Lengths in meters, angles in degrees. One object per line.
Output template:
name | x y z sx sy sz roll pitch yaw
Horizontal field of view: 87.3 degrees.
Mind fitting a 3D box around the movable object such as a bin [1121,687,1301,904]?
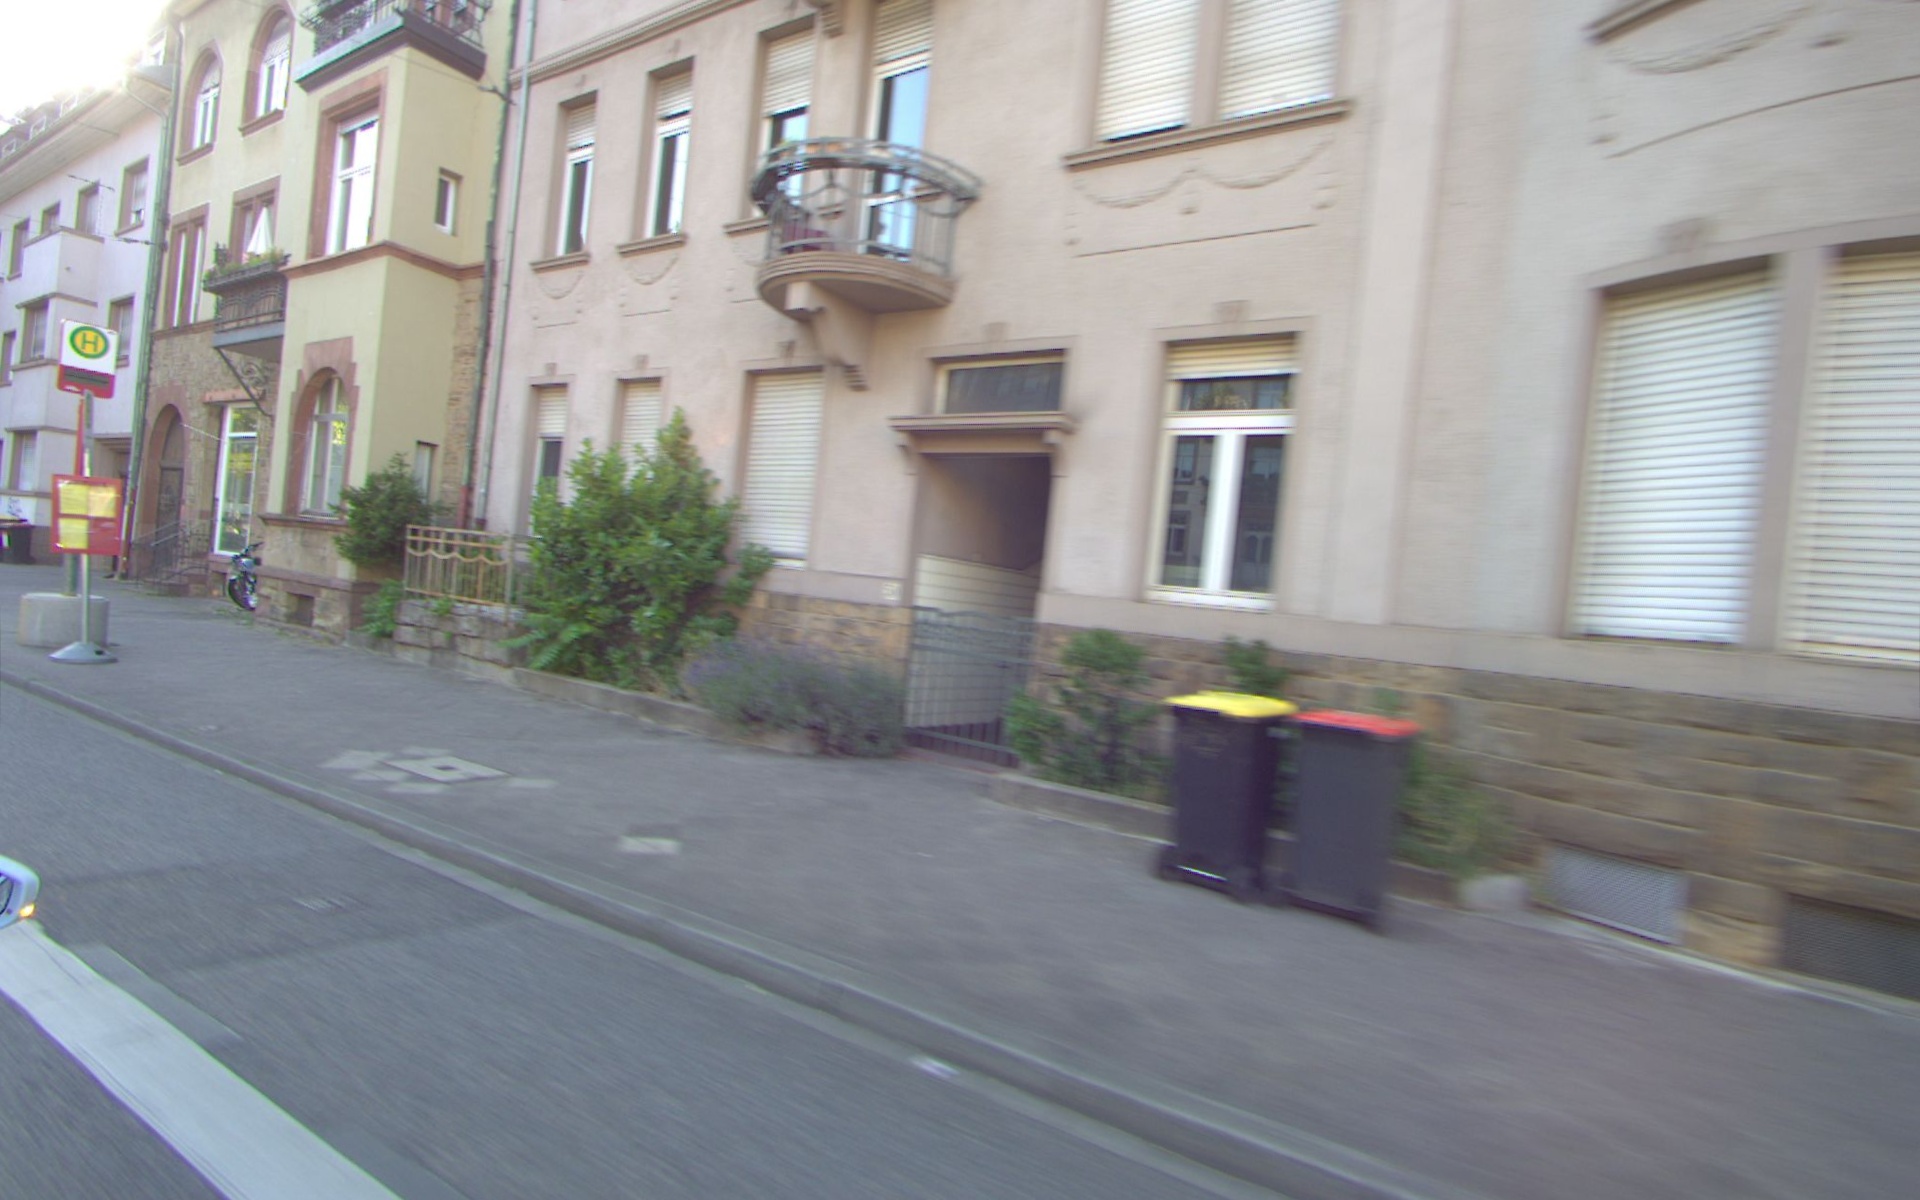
movable object such as a bin | 1.415 1.062 5.679 0.653 1.059 0.651 5 0 -42

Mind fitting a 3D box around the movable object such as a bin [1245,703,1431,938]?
movable object such as a bin | 1.986 1.118 5.302 0.567 1.059 0.651 5 0 -42

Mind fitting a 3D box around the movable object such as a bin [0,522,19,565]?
movable object such as a bin | -22.539 -1.340 23.578 0.576 0.981 0.553 5 0 37

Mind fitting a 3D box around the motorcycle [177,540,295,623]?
motorcycle | -11.822 -0.324 16.388 2.464 1.151 0.590 5 0 31

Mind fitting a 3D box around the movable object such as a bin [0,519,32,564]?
movable object such as a bin | -21.966 -1.353 23.296 0.576 0.981 0.553 5 0 37
